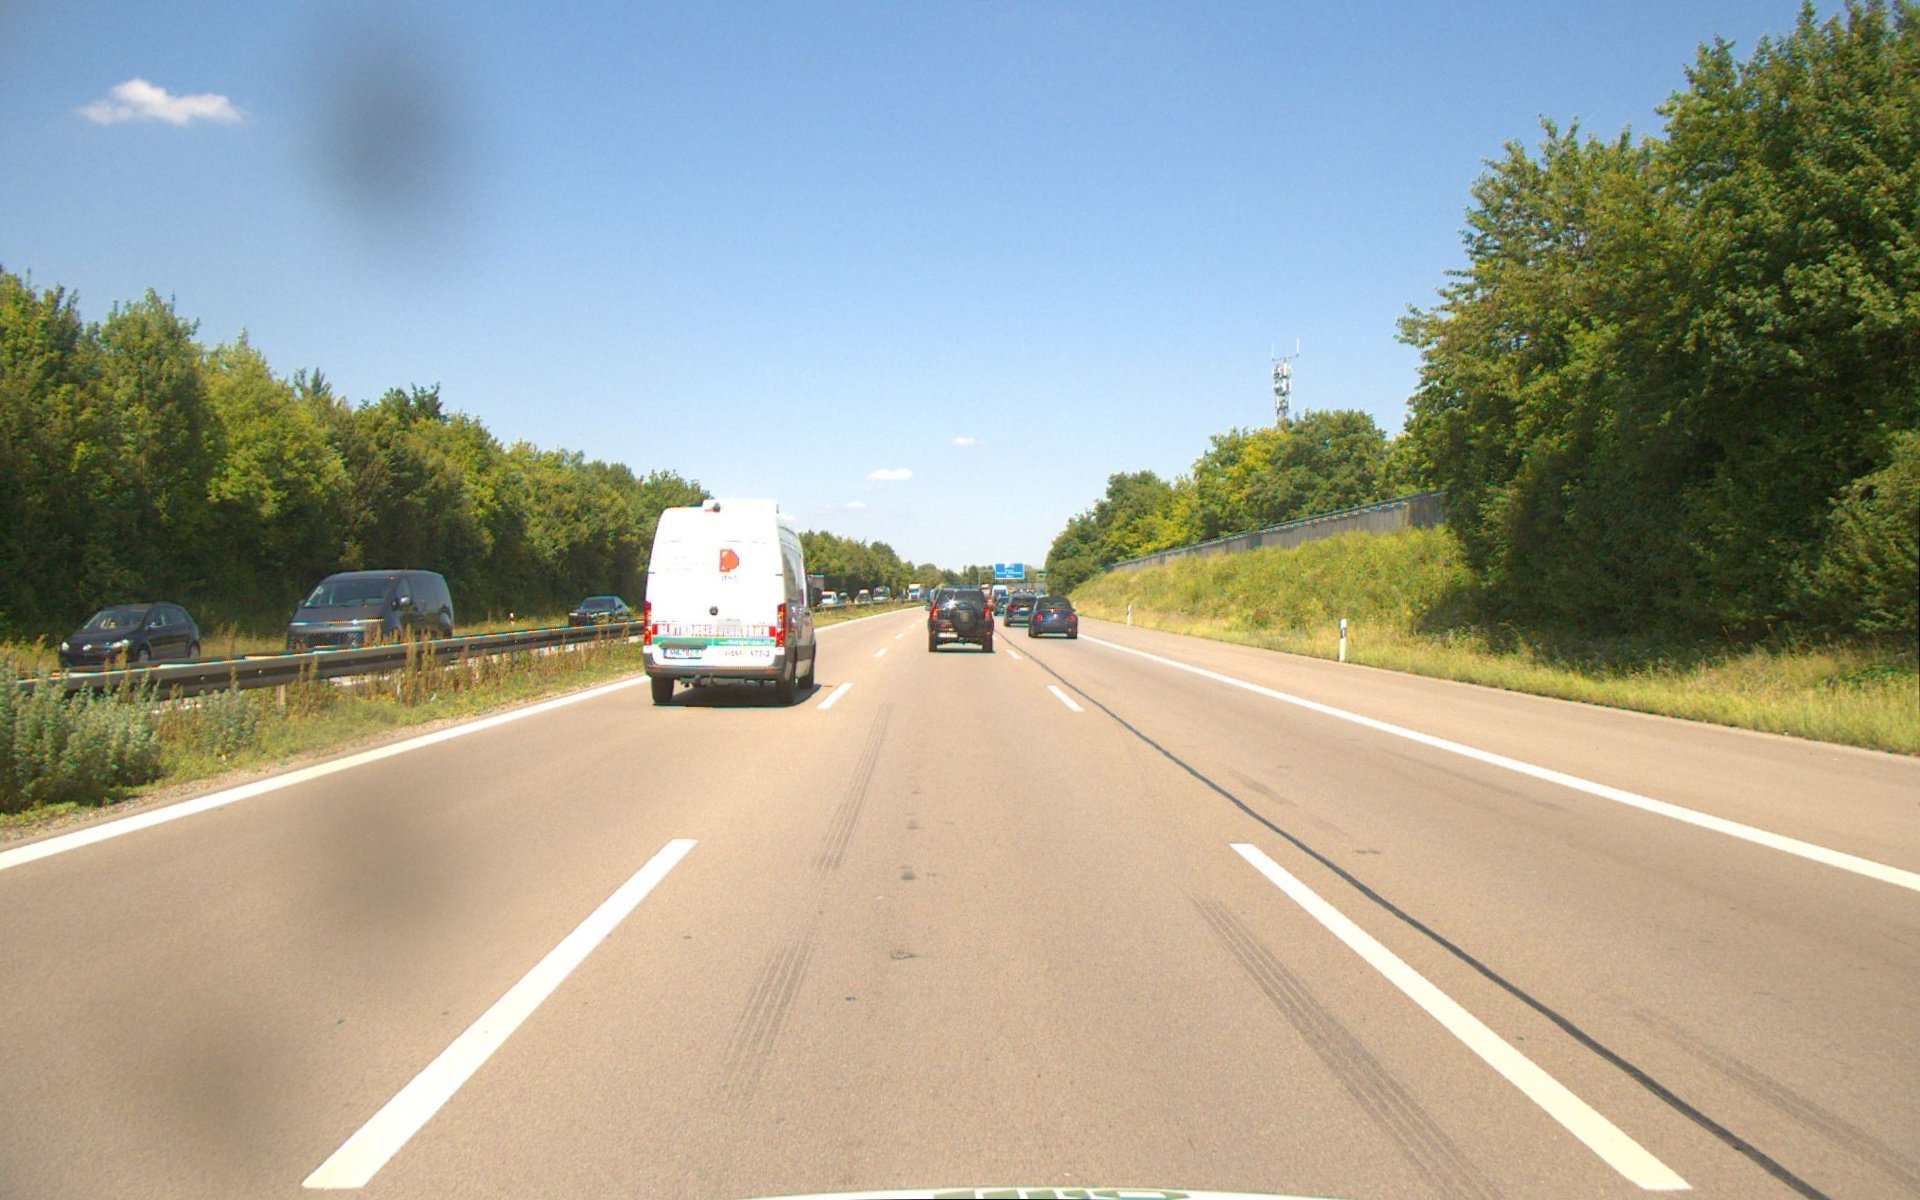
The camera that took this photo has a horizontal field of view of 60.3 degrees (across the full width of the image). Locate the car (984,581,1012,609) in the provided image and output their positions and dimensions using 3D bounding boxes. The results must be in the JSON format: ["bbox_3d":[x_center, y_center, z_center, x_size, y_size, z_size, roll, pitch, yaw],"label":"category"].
[{"bbox_3d":[2.876,-0.357,124.958,1.953,2.049,3.999,-1,-1,-1],"label":"car"}]

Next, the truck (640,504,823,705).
[{"bbox_3d":[-3.258,0.039,24.947,1.953,2.587,6.690,1,0,-1],"label":"truck"}]

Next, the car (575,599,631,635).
[{"bbox_3d":[-15.717,0.747,72.916,1.644,1.496,3.999,-1,-1,-1],"label":"car"}]

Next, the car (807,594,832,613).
[{"bbox_3d":[-13.801,0.344,162.439,1.952,1.777,4.391,-1,0,0],"label":"car"}]

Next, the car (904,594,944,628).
[{"bbox_3d":[-1.937,0.587,90.635,1.952,1.735,4.337,-1,0,2],"label":"car"}]

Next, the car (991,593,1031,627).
[{"bbox_3d":[2.521,0.518,82.297,1.805,1.640,3.999,-1,-1,-1],"label":"car"}]

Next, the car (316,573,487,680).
[{"bbox_3d":[-11.504,0.506,34.446,1.953,2.049,4.651,-1,0,0],"label":"car"}]

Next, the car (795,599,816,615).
[{"bbox_3d":[-18.108,0.774,194.294,1.952,1.777,4.391,-1,0,0],"label":"car"}]

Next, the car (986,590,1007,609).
[{"bbox_3d":[4.177,-0.080,190.289,1.954,2.049,4.764,-1,0,-3],"label":"car"}]

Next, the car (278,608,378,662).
[{"bbox_3d":[-20.455,1.109,53.677,1.675,1.656,4.000,-1,-1,1],"label":"car"}]

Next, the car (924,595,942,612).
[{"bbox_3d":[-3.499,0.469,211.721,1.952,2.049,4.951,-1,0,3],"label":"car"}]

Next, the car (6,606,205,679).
[{"bbox_3d":[-19.348,0.913,37.747,1.953,1.506,4.931,-1,0,0],"label":"car"}]

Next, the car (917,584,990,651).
[{"bbox_3d":[-0.179,0.477,44.904,1.867,1.694,3.999,-1,-1,0],"label":"car"}]

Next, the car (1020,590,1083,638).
[{"bbox_3d":[3.359,0.536,61.405,1.953,1.713,3.998,-1,-1,-2],"label":"car"}]

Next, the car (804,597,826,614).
[{"bbox_3d":[-15.537,0.539,177.093,1.952,1.777,4.391,-1,0,0],"label":"car"}]
